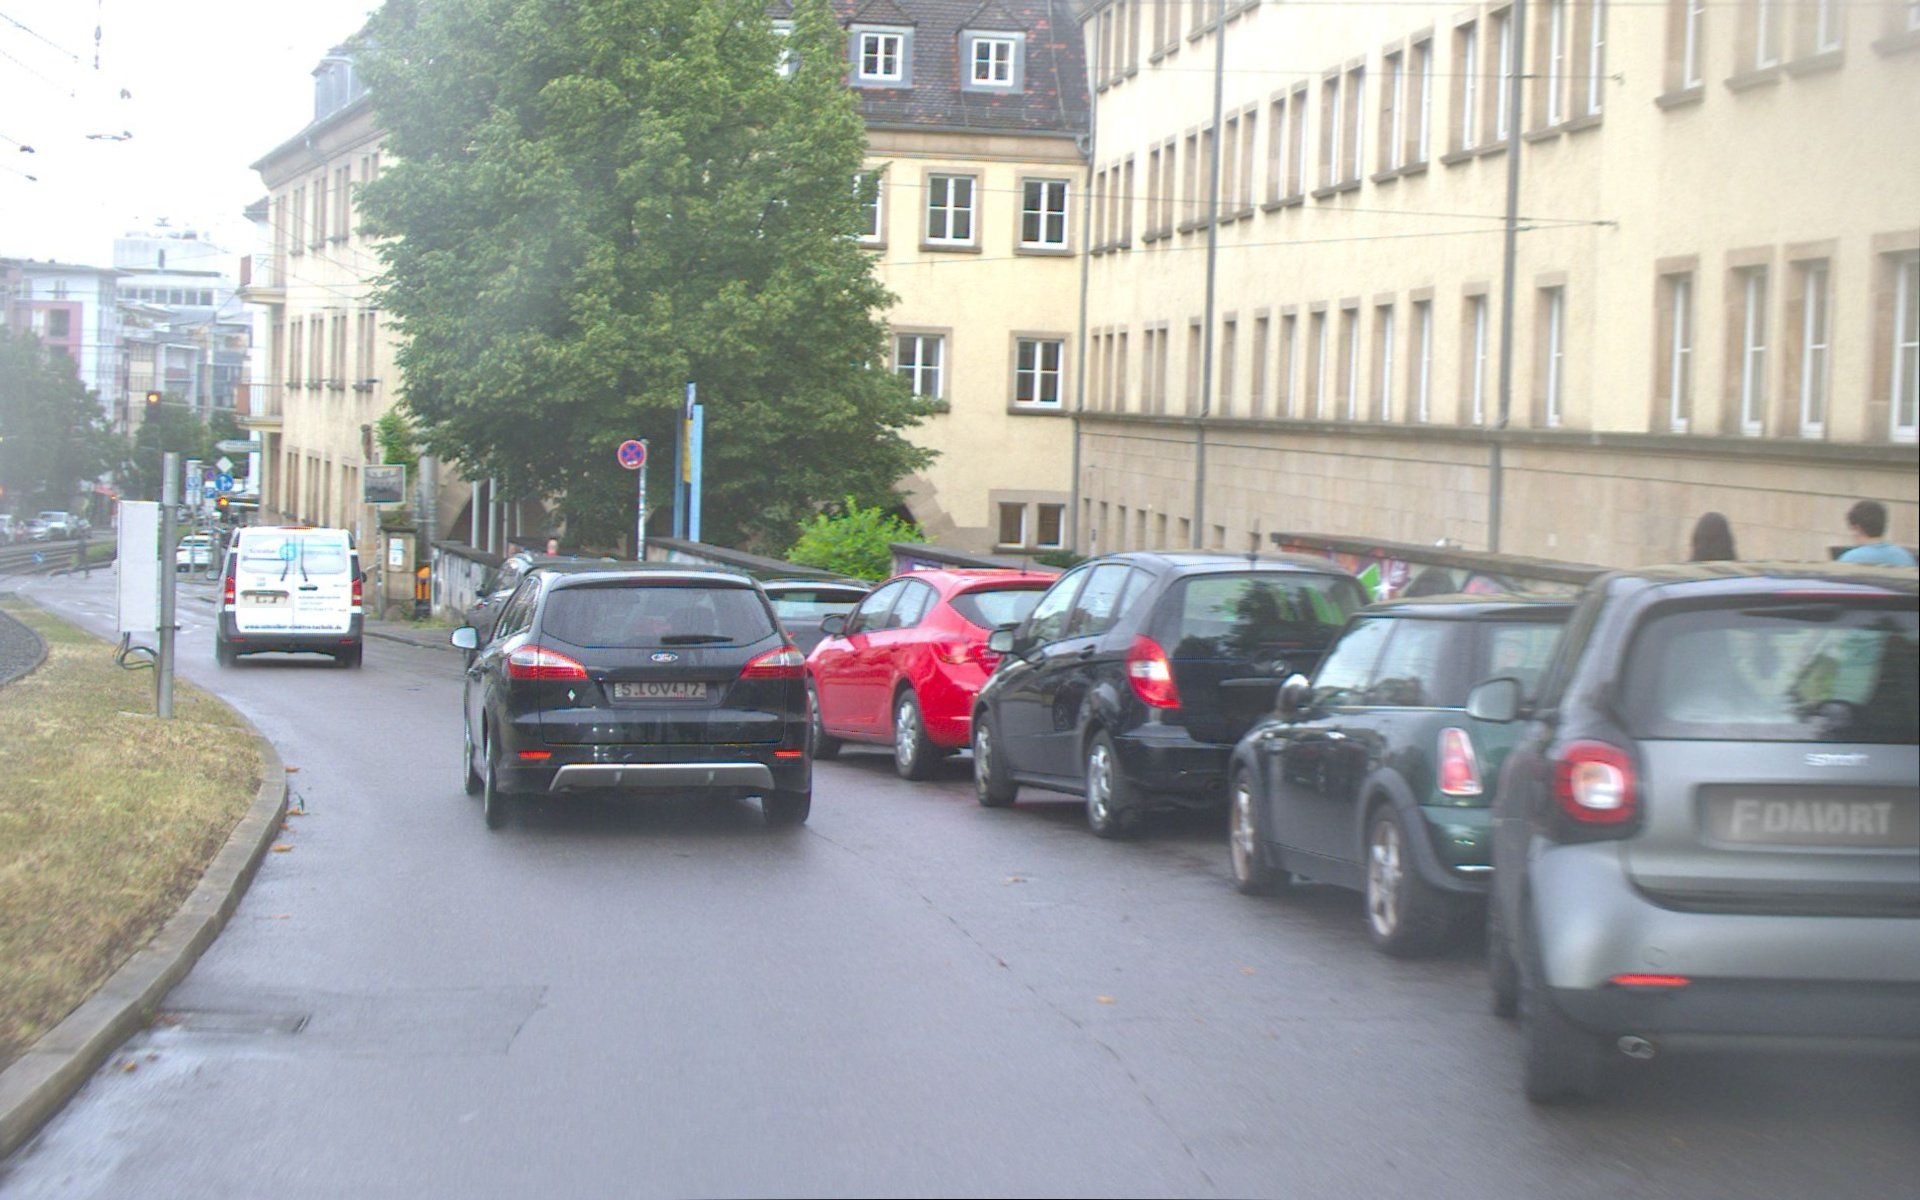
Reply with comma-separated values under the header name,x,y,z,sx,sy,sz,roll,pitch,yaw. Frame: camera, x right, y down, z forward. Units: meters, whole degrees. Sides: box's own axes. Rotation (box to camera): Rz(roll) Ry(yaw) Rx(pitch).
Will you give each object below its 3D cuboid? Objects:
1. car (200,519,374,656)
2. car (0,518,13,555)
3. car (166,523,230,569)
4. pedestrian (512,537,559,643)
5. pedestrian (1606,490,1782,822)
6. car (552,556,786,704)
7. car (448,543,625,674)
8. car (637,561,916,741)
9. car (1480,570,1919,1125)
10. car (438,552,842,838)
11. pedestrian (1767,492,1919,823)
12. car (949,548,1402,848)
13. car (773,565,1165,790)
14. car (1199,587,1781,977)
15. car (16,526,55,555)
name,x,y,z,sx,sy,sz,roll,pitch,yaw
car,-9.219,-0.201,46.868,2.136,1.739,4.219,1,1,-13
car,-54.837,-3.616,194.644,1.993,2.007,4.001,2,0,-12
car,-30.520,-2.157,137.828,1.993,1.766,4.001,2,0,-6
pedestrian,-6.992,-0.169,56.562,0.632,1.715,0.711,1,0,-15
pedestrian,3.947,0.294,18.535,0.717,1.749,0.739,1,0,-5
car,-3.128,0.284,36.281,1.665,1.471,4.110,0,0,-16
car,-5.220,0.081,41.987,1.665,1.519,4.110,0,0,-14
car,-1.705,0.401,30.496,1.665,1.471,4.459,0,0,-14
car,2.445,0.649,10.501,1.598,1.460,2.720,1,0,7
car,-1.988,0.484,20.229,1.919,1.474,4.001,1,1,-11
pedestrian,4.855,0.304,18.630,0.717,1.749,0.739,1,0,-5
car,1.141,0.504,20.030,1.665,1.568,3.857,0,0,-12
car,-0.030,0.517,25.392,1.665,1.471,4.067,3,0,-18
car,2.091,0.669,14.524,1.535,1.411,3.644,1,0,-6
car,-55.895,-3.607,207.883,1.993,1.656,4.001,2,0,-12
